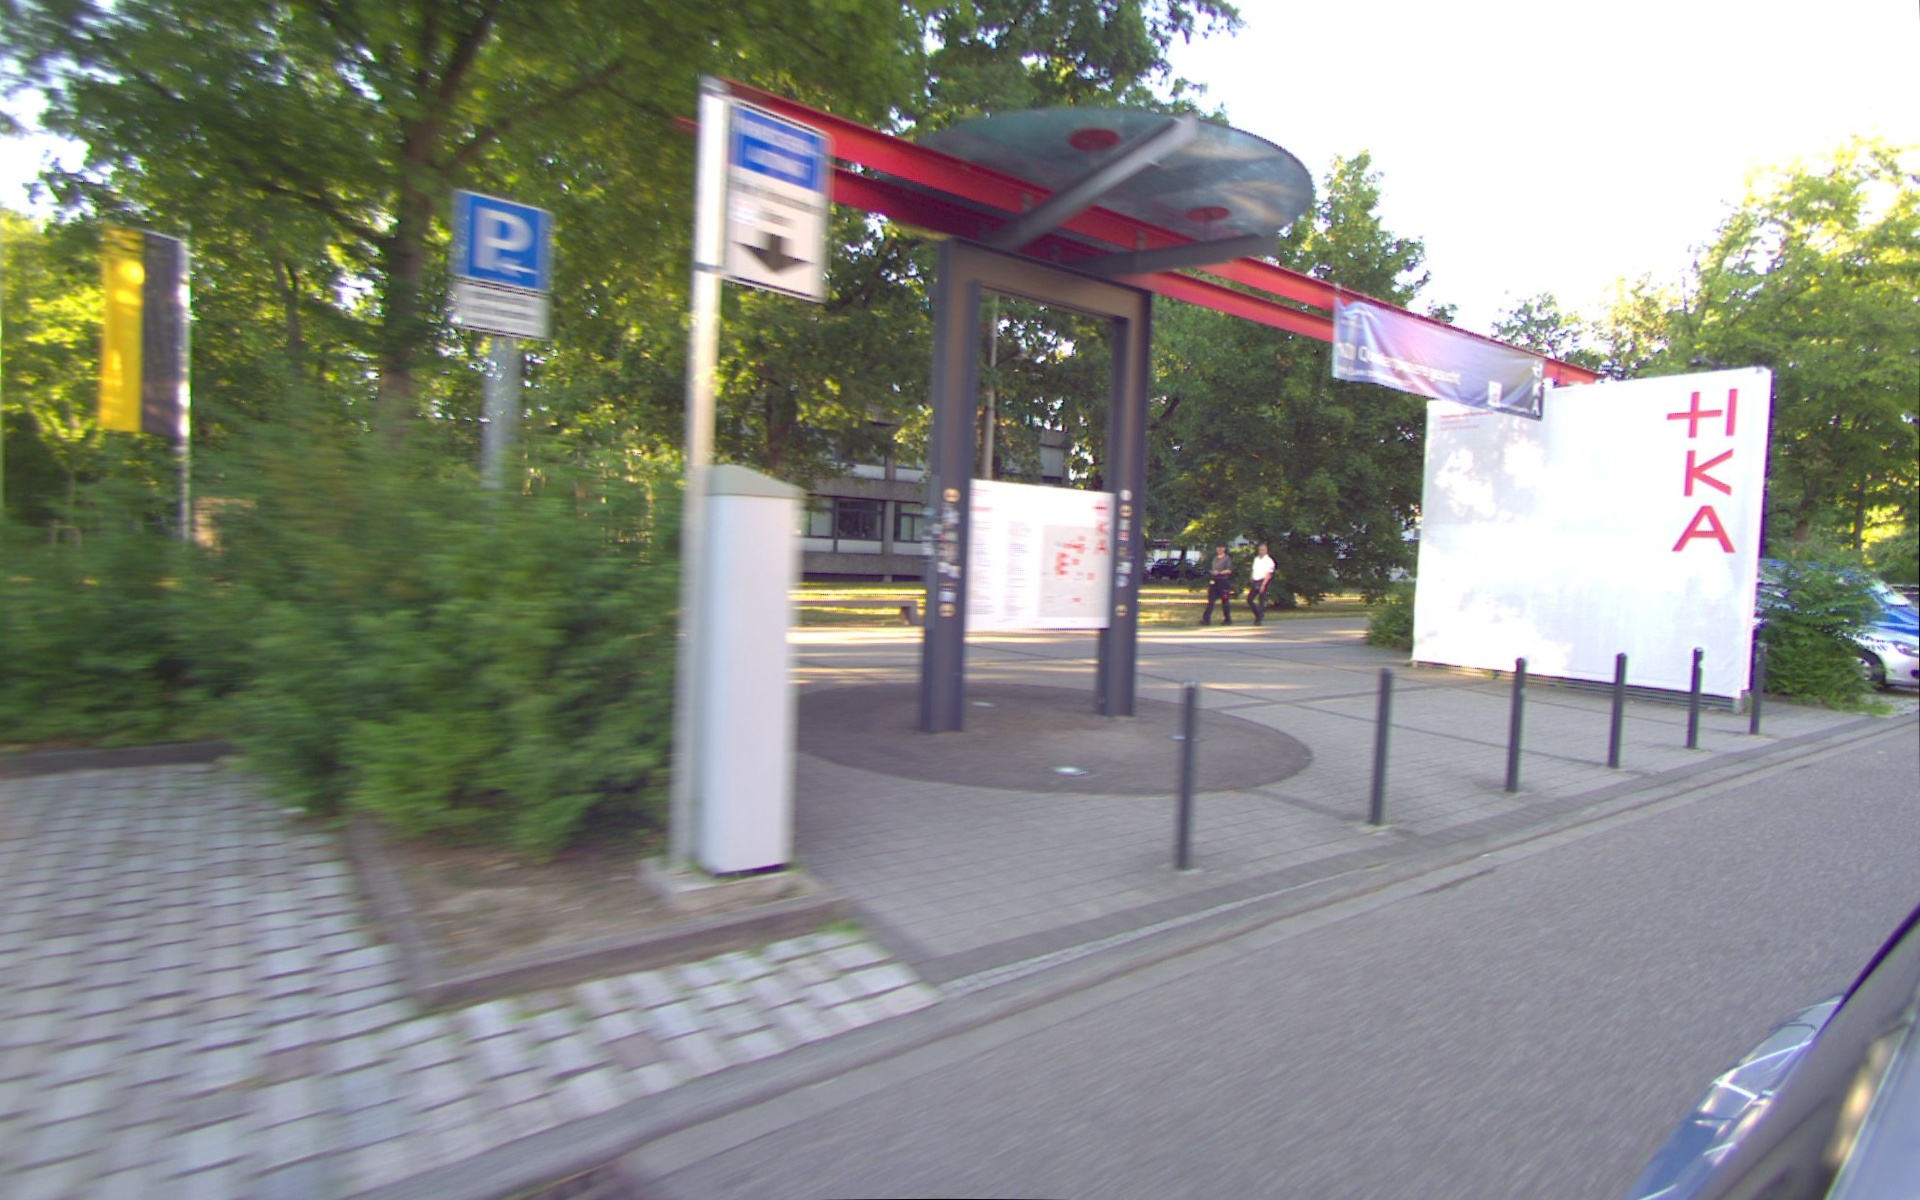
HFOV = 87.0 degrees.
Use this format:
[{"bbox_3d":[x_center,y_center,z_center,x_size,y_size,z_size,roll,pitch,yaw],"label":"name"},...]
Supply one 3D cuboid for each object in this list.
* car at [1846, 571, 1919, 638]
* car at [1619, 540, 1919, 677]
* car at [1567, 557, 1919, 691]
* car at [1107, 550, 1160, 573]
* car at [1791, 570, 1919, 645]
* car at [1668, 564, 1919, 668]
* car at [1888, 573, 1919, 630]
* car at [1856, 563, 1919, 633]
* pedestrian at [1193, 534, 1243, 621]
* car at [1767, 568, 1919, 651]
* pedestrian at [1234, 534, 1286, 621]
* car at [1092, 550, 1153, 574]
[{"bbox_3d":[25.215,0.232,25.179,1.841,1.572,4.379,0,5,-37],"label":"car"},{"bbox_3d":[14.711,0.060,17.711,1.880,1.938,4.871,0,5,-36],"label":"car"},{"bbox_3d":[12.824,0.271,16.173,1.880,1.572,4.945,0,5,-36],"label":"car"},{"bbox_3d":[13.516,-3.024,78.981,1.962,1.626,3.772,0,3,-36],"label":"car"},{"bbox_3d":[22.814,0.241,24.004,1.885,1.555,4.379,0,5,-37],"label":"car"},{"bbox_3d":[16.771,0.281,19.282,1.880,1.572,4.945,0,5,-36],"label":"car"},{"bbox_3d":[29.109,0.205,28.274,1.695,1.572,4.379,0,5,-36],"label":"car"},{"bbox_3d":[27.208,0.060,27.140,1.885,1.801,4.379,0,5,-37],"label":"car"},{"bbox_3d":[5.447,-0.483,21.392,0.776,1.794,0.648,0,3,-41],"label":"pedestrian"},{"bbox_3d":[20.613,0.248,21.996,1.885,1.555,4.379,0,5,-37],"label":"car"},{"bbox_3d":[6.316,-0.481,21.300,0.772,1.794,0.665,1,2,-41],"label":"pedestrian"},{"bbox_3d":[11.095,-2.641,69.299,1.704,1.494,4.001,0,3,-36],"label":"car"}]
